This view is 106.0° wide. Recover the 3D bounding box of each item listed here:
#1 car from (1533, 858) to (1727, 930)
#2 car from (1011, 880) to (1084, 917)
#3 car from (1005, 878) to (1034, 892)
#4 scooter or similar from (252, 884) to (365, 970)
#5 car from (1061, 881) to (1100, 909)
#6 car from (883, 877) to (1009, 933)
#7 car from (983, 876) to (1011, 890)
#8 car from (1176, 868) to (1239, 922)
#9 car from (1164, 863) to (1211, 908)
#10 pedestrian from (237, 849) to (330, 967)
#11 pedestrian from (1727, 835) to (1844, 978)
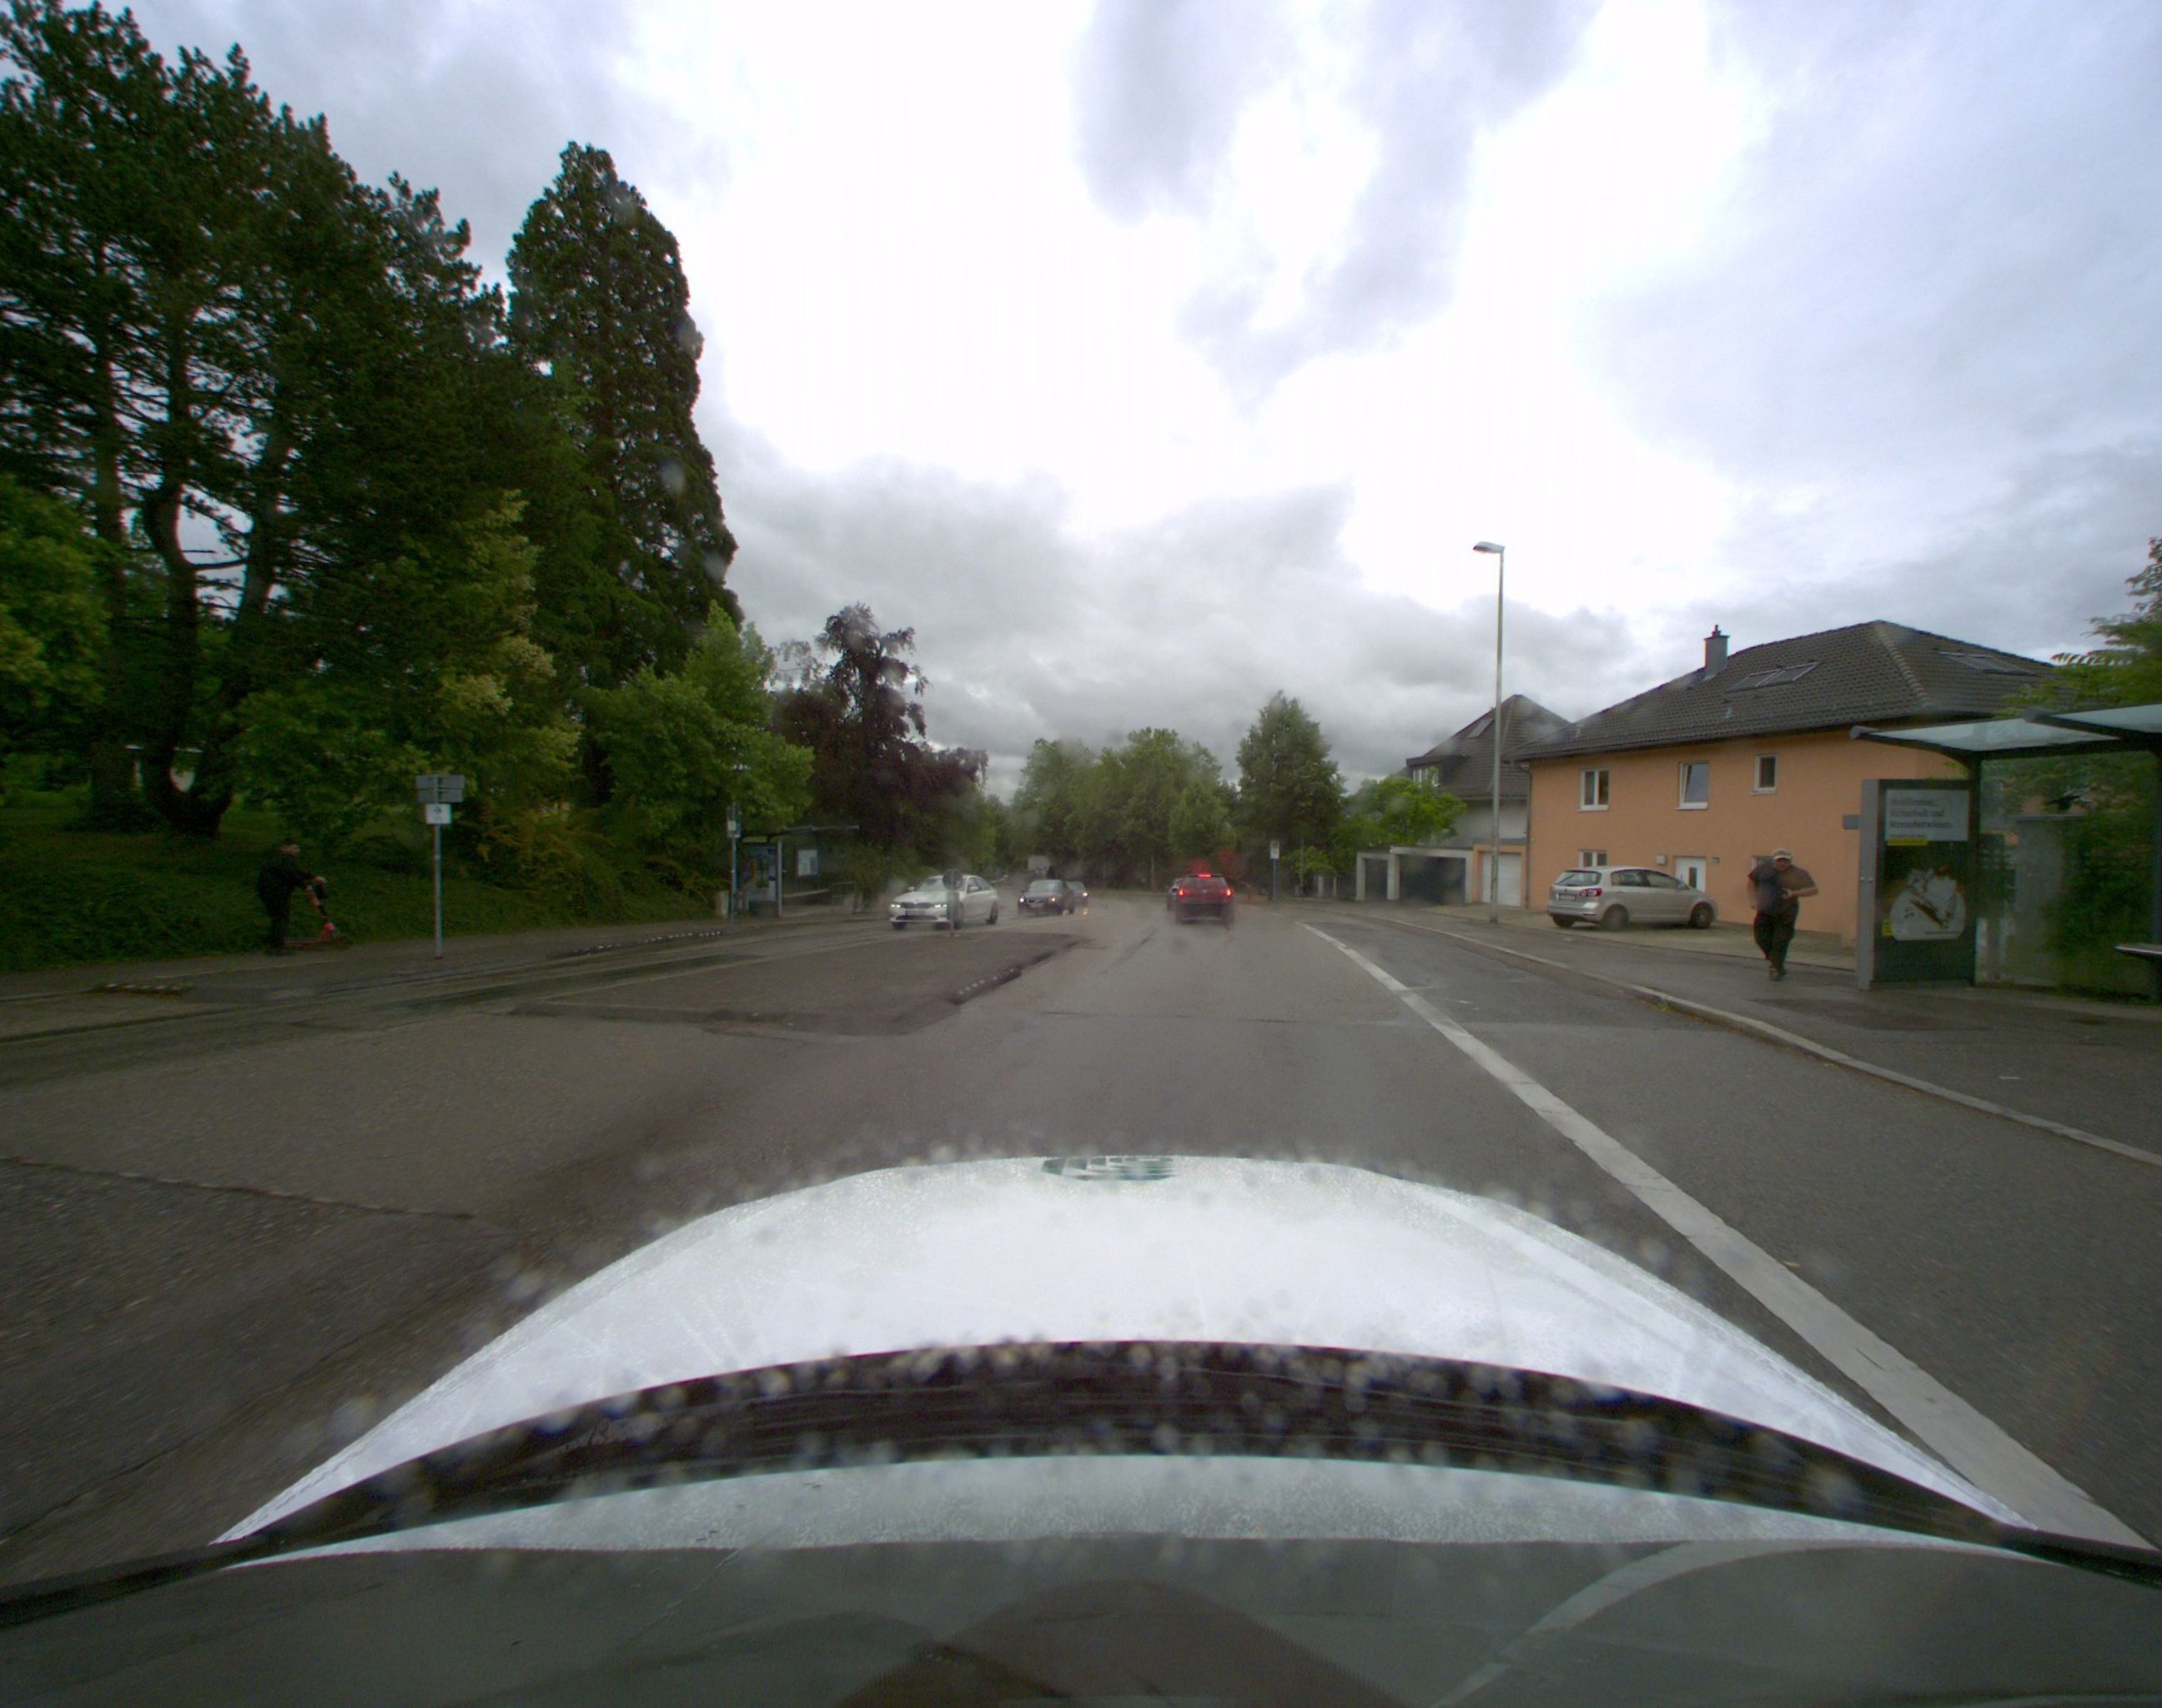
[{"bbox_3d":[13.788,0.960,20.547,3.892,1.632,1.895,-1,0,-12],"label":"car"},{"bbox_3d":[-1.298,1.757,33.453,1.896,1.393,4.530,0,-2,12],"label":"car"},{"bbox_3d":[-8.940,4.501,118.943,3.991,1.838,1.991,-1,0,-13],"label":"car"},{"bbox_3d":[-12.275,1.128,12.993,0.438,1.250,1.316,0,0,7],"label":"scooter or similar"},{"bbox_3d":[-0.008,2.522,50.667,1.899,1.612,4.523,0,-2,7],"label":"car"},{"bbox_3d":[-3.598,1.344,22.702,1.896,1.393,4.530,0,-2,12],"label":"car"},{"bbox_3d":[-12.474,4.293,121.101,3.991,1.838,1.991,-1,0,-13],"label":"car"},{"bbox_3d":[3.892,1.233,25.240,1.755,1.539,4.008,-1,-2,8],"label":"car"},{"bbox_3d":[4.895,1.413,37.948,1.758,1.801,4.249,-2,1,2],"label":"car"},{"bbox_3d":[-12.205,0.790,12.488,0.741,1.725,0.810,-1,0,-22],"label":"pedestrian"},{"bbox_3d":[8.912,0.641,10.365,1.000,1.695,0.962,-4,-1,38],"label":"pedestrian"}]
